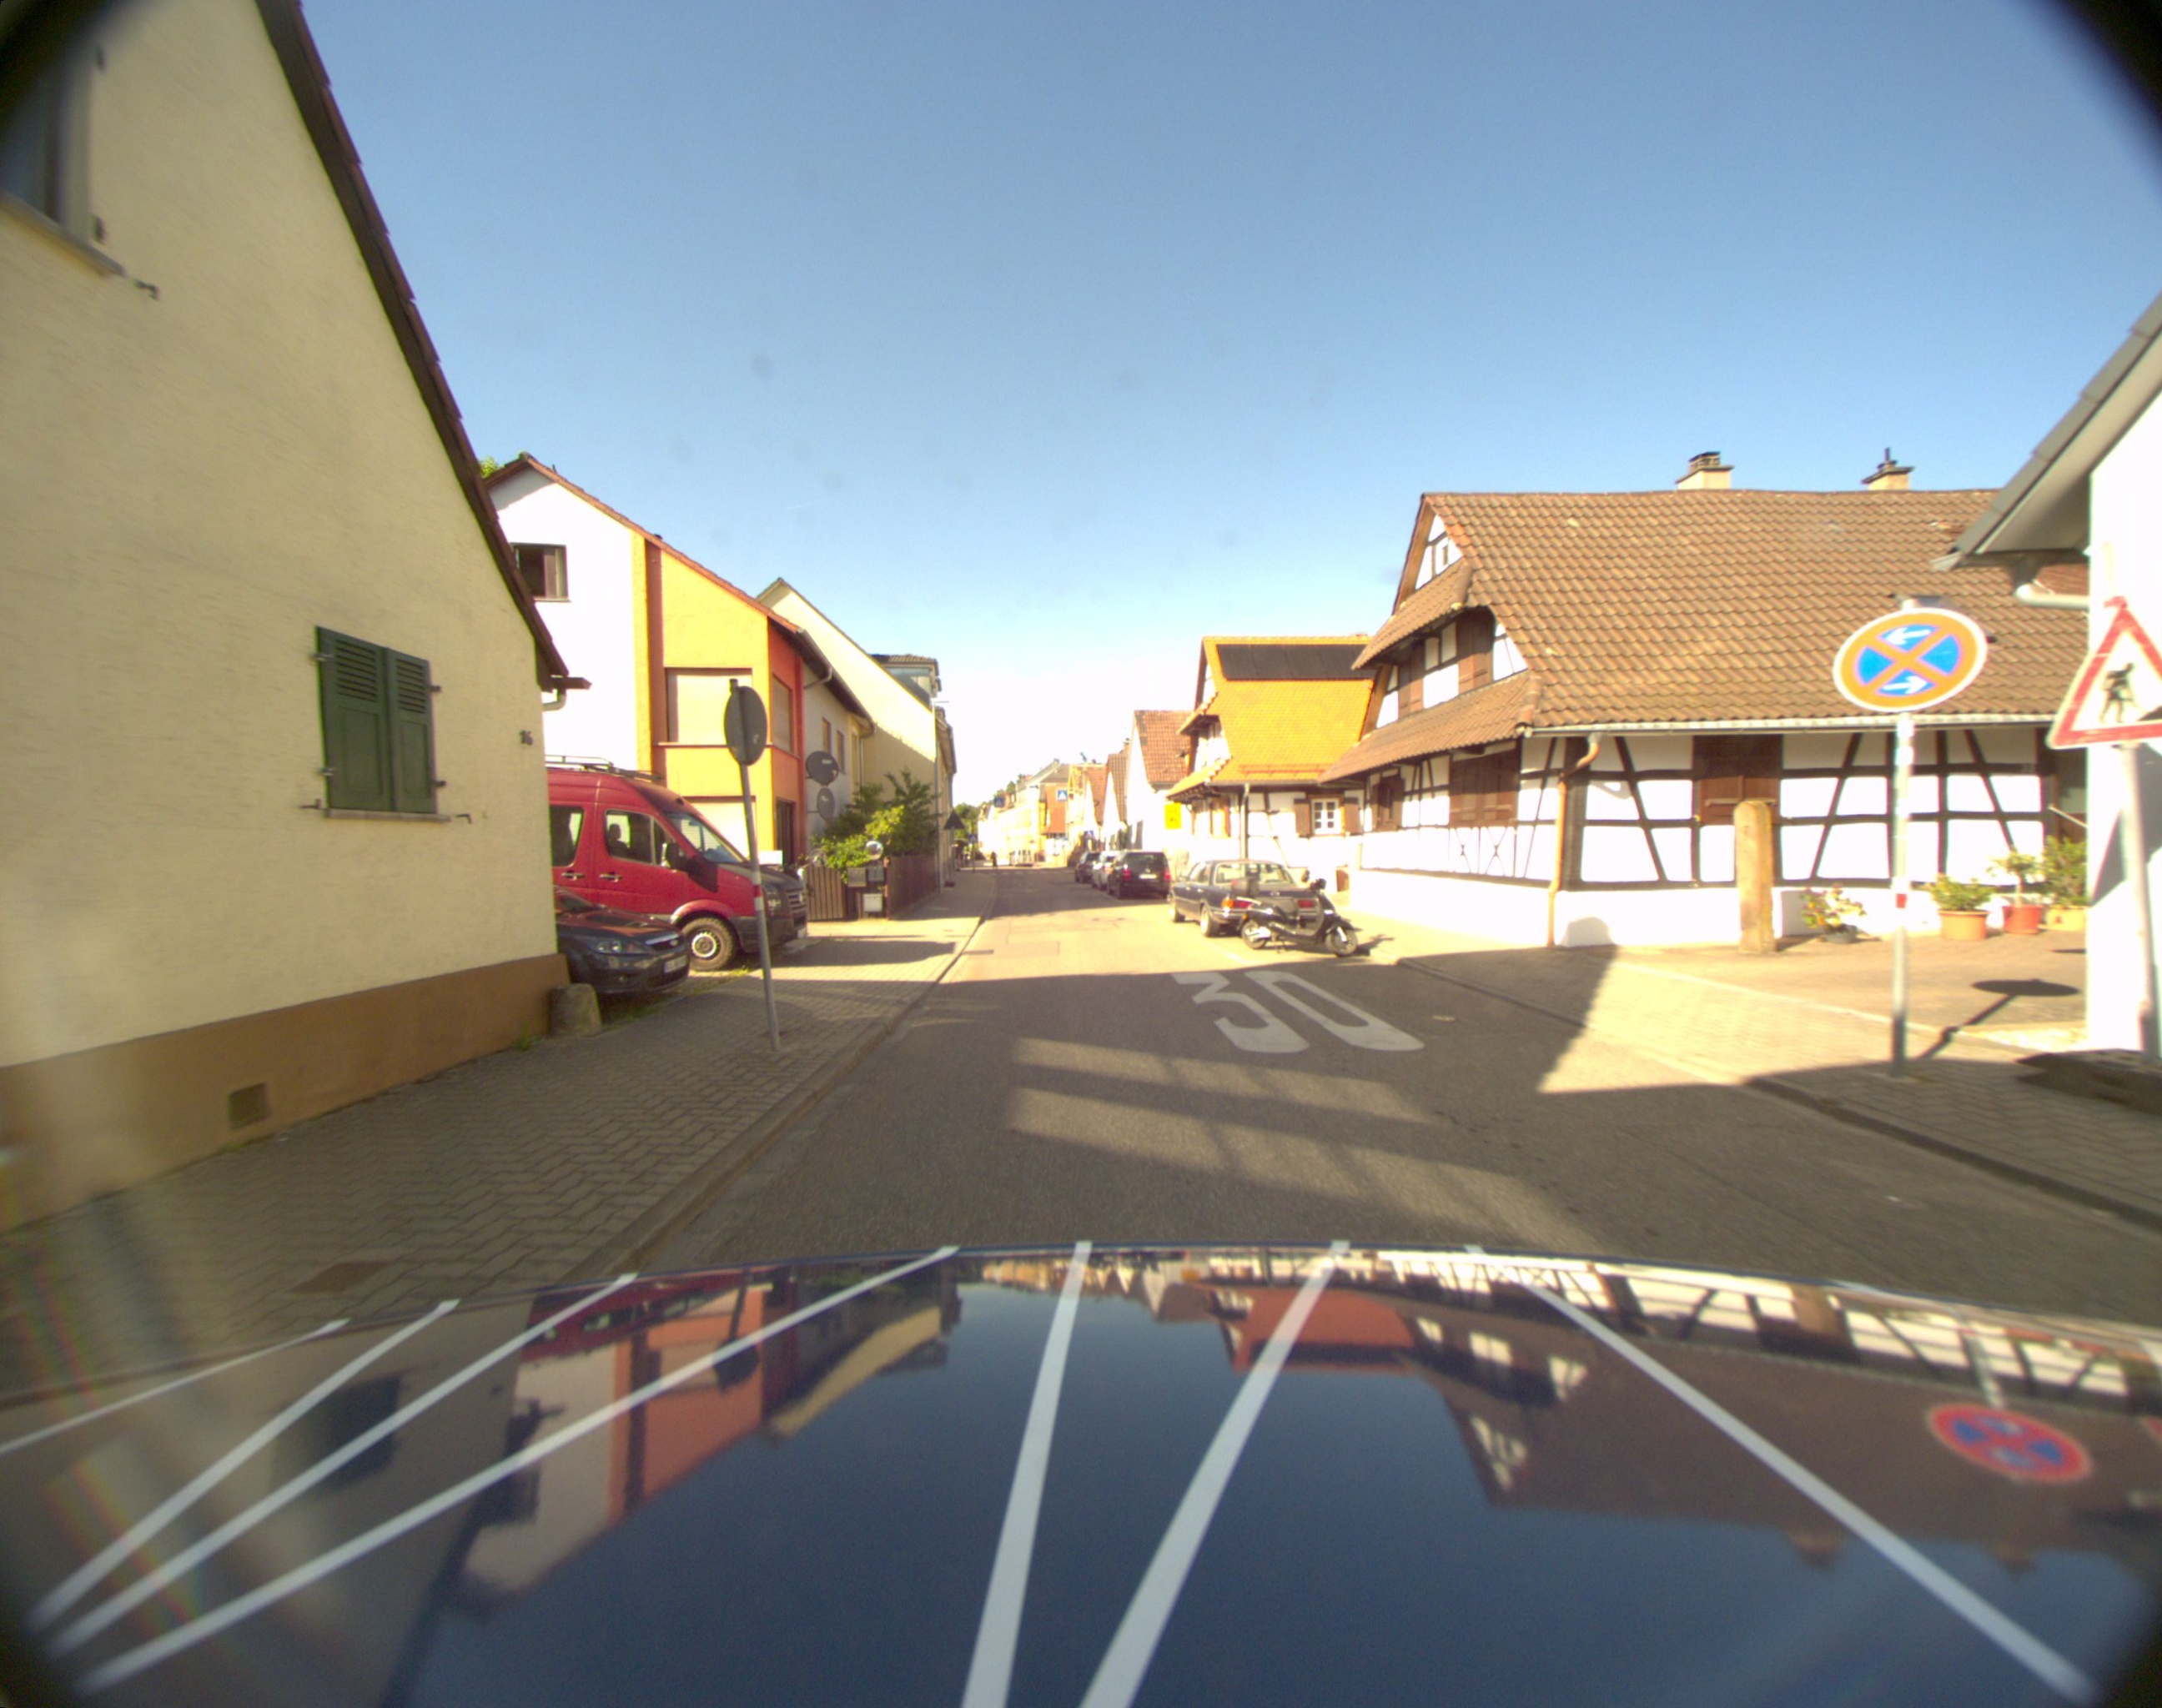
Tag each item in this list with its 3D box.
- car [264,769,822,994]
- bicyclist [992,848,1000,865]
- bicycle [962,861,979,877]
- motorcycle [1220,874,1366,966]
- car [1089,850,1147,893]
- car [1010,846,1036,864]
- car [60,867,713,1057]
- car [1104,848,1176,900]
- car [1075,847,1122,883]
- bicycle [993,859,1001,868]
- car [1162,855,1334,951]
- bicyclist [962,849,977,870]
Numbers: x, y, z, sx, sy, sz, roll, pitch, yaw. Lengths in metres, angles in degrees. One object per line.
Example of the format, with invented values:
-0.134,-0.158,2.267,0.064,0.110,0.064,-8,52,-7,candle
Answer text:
-6.734,0.291,10.268,5.822,2.640,1.965,0,2,-9,car
-8.011,0.267,71.875,0.610,1.525,0.654,-5,2,-10,bicyclist
-12.361,1.685,84.909,1.258,1.543,3.994,-5,2,-17,bicycle
3.098,0.923,11.234,1.989,1.224,0.628,-1,1,40,motorcycle
1.465,0.663,31.412,1.821,1.558,4.165,-2,1,-5,car
-6.272,0.079,81.544,1.882,1.870,4.828,-1,1,-15,car
-6.216,0.904,7.360,4.387,1.478,1.838,0,2,-6,car
1.956,0.616,26.351,1.789,1.595,4.358,-2,1,-5,car
0.830,0.506,38.255,1.748,1.605,3.996,-2,1,-7,car
-7.953,0.920,71.859,0.624,0.775,1.910,-5,2,-10,bicycle
2.945,0.774,14.630,1.850,1.398,5.033,-1,1,-5,car
-12.464,0.617,84.928,1.258,2.295,1.241,-5,2,-16,bicyclist
